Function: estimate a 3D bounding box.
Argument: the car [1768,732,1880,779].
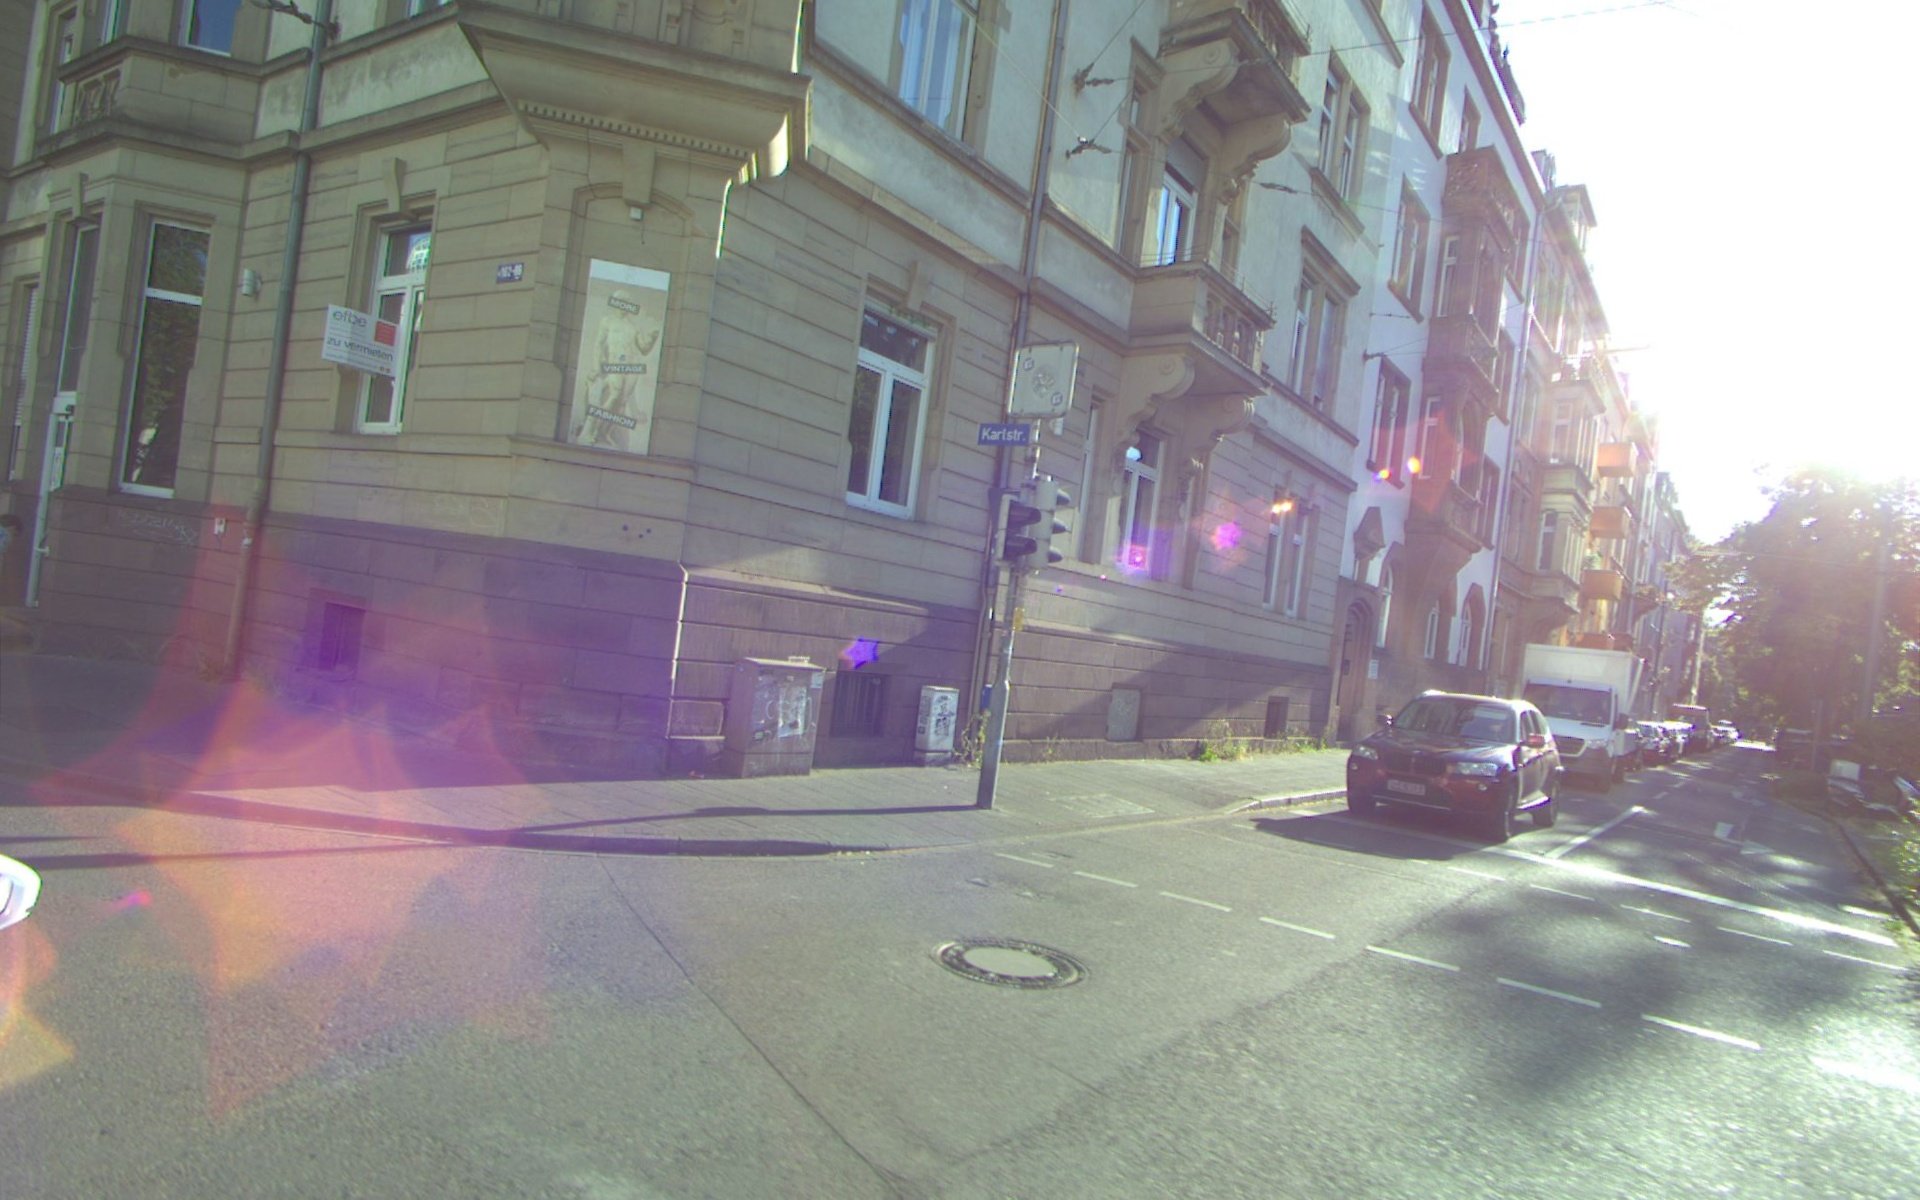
[{"bbox_3d":[48.377,8.681,56.436,1.917,1.947,4.258,7,-3,-19],"label":"car"}]

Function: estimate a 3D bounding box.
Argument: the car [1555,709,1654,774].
[{"bbox_3d":[19.914,4.344,31.006,1.918,1.650,4.256,4,-3,40],"label":"car"}]

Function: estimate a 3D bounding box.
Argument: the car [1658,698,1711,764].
[{"bbox_3d":[42.873,7.774,59.445,1.917,3.509,5.678,5,-3,40],"label":"car"}]

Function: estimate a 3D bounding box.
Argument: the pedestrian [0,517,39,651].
[{"bbox_3d":[-10.085,-0.198,10.240,0.707,1.348,0.795,5,0,31],"label":"pedestrian"}]

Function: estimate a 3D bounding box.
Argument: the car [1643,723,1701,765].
[{"bbox_3d":[35.855,7.222,50.611,1.918,1.791,4.256,4,-3,40],"label":"car"}]

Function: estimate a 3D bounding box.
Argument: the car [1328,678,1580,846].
[{"bbox_3d":[6.652,2.057,13.300,1.918,1.650,4.256,4,-3,40],"label":"car"}]

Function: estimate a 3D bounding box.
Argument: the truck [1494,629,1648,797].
[{"bbox_3d":[14.594,2.657,23.684,2.295,3.115,8.064,5,-3,36],"label":"truck"}]

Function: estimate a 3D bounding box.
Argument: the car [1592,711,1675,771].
[{"bbox_3d":[24.202,5.030,36.072,1.918,1.791,4.256,4,-3,40],"label":"car"}]

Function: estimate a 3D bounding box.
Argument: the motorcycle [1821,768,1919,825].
[{"bbox_3d":[19.551,4.191,21.473,1.730,1.031,0.606,-1,-5,36],"label":"motorcycle"}]

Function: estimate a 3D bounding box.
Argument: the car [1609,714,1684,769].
[{"bbox_3d":[27.248,5.595,39.860,1.918,1.791,4.256,4,-3,40],"label":"car"}]
